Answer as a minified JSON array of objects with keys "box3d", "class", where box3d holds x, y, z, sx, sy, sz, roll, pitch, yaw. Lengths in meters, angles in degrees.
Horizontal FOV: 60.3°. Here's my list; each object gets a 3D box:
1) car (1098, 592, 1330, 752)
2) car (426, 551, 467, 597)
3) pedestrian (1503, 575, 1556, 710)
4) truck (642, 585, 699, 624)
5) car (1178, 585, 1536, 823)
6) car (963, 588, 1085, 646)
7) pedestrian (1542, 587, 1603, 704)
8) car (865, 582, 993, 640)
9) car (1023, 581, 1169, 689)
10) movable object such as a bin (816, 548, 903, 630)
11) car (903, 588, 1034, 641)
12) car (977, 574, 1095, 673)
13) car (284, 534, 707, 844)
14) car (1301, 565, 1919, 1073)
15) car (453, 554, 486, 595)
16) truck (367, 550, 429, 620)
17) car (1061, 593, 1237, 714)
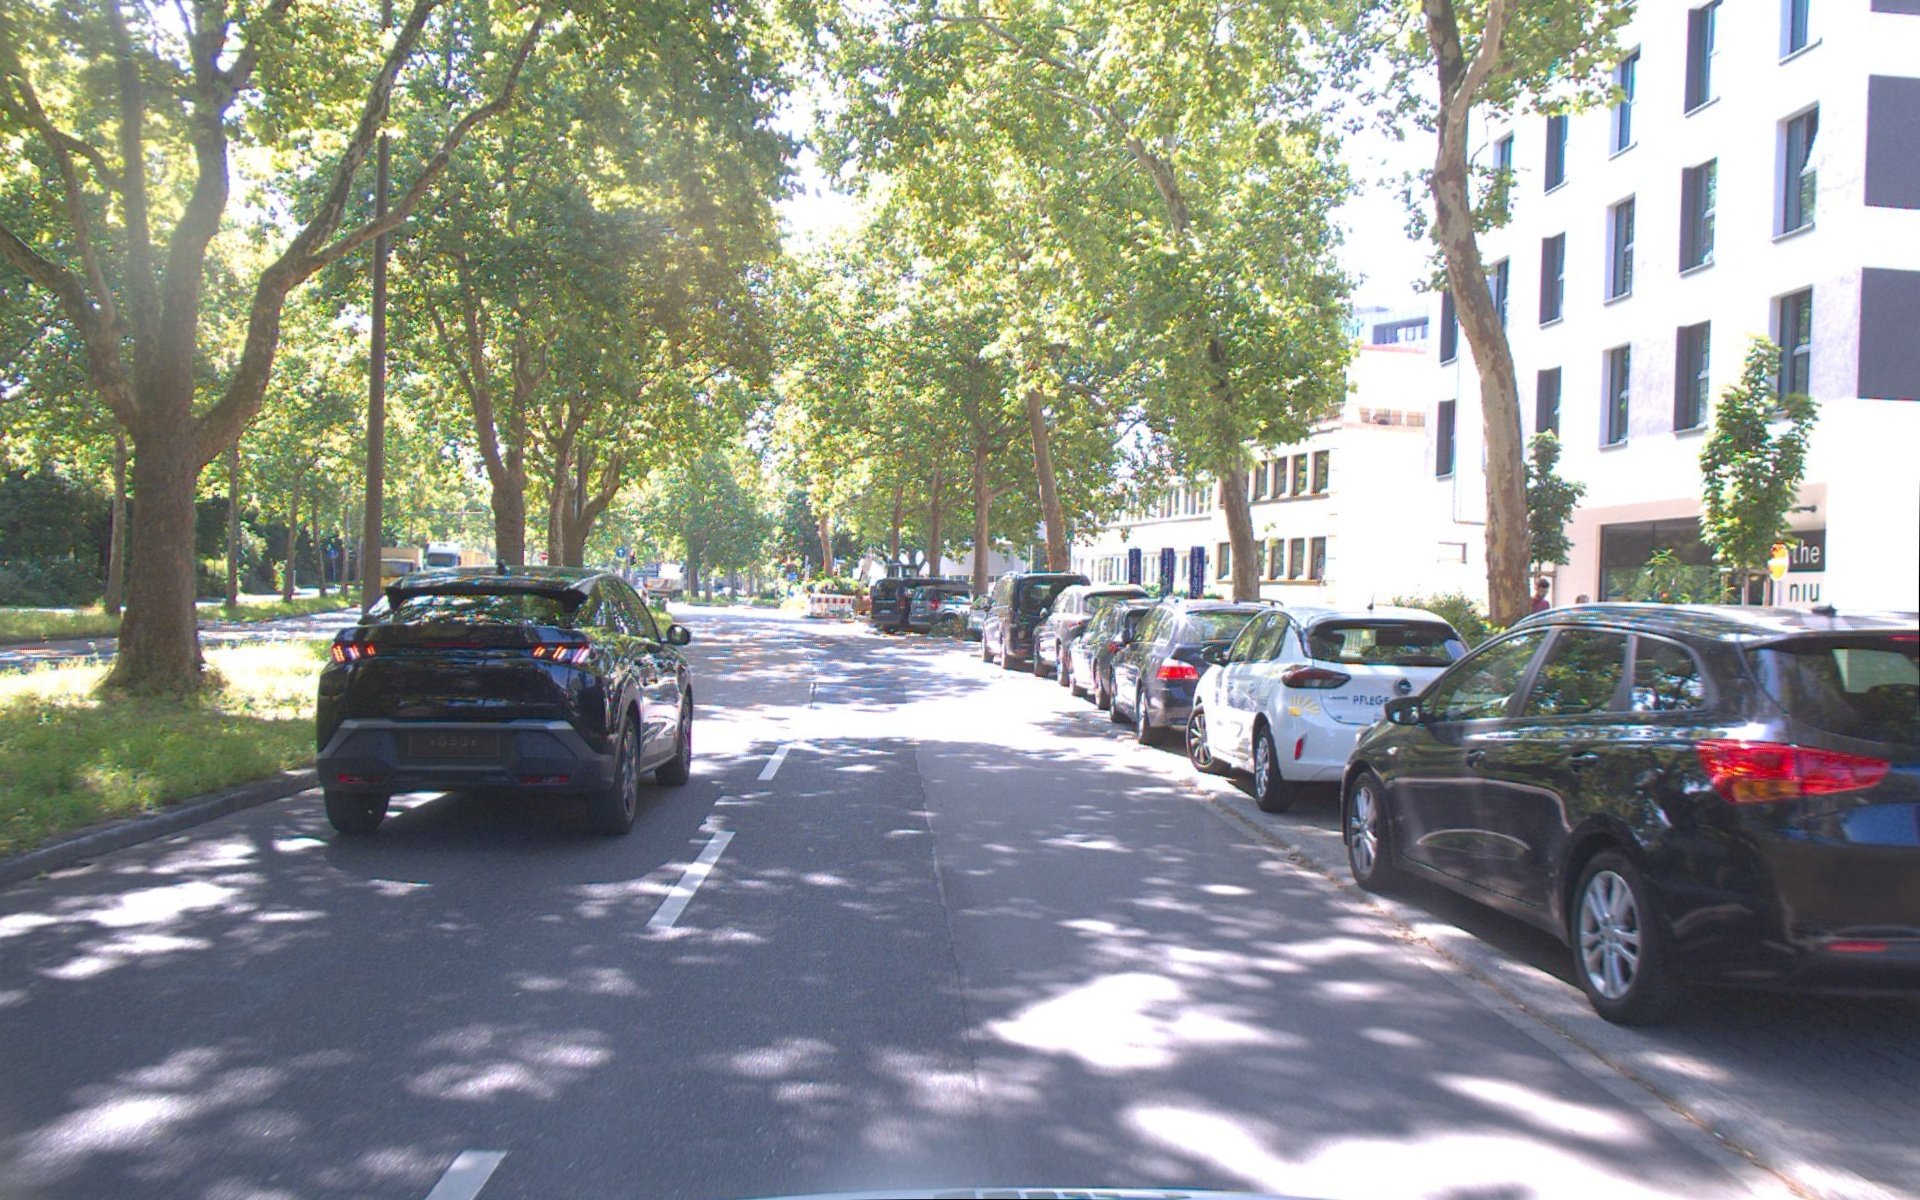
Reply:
[{"box3d":[2.620,0.687,18.108,1.672,1.480,4.654,2,0,-2],"class":"car"},{"box3d":[-41.894,-2.151,135.034,2.408,3.509,7.077,3,0,-12],"class":"car"},{"box3d":[7.941,0.586,23.080,0.466,1.839,0.637,2,-1,-3],"class":"pedestrian"},{"box3d":[-28.800,0.476,164.863,5.423,3.742,1.996,2,0,-8],"class":"truck"},{"box3d":[2.873,0.682,12.878,1.672,1.514,4.099,2,0,-2],"class":"car"},{"box3d":[1.946,0.524,51.005,3.487,1.668,1.655,2,0,-10],"class":"car"},{"box3d":[8.635,0.632,23.335,0.601,1.609,0.570,2,-1,-3],"class":"pedestrian"},{"box3d":[-1.079,0.382,57.378,4.046,1.913,1.772,2,0,-24],"class":"car"},{"box3d":[2.293,0.559,29.018,1.674,1.698,4.527,2,0,-7],"class":"car"},{"box3d":[-4.236,-0.455,69.440,2.305,3.297,3.394,2,0,-32],"class":"movable object such as a bin"},{"box3d":[0.290,0.494,55.546,4.043,1.662,1.701,2,0,-23],"class":"car"},{"box3d":[1.484,0.442,34.231,1.674,1.874,4.719,2,0,-7],"class":"car"},{"box3d":[-2.960,0.510,11.567,1.834,1.726,4.433,1,0,-2],"class":"car"},{"box3d":[3.043,0.653,7.361,1.674,1.514,4.713,1,0,-6],"class":"car"},{"box3d":[-43.261,-2.229,145.880,2.021,3.494,6.751,2,0,-11],"class":"car"},{"box3d":[-30.561,-0.874,90.080,2.409,3.509,7.073,3,0,-14],"class":"truck"},{"box3d":[2.566,0.683,23.465,1.673,1.514,4.481,2,0,-4],"class":"car"}]
